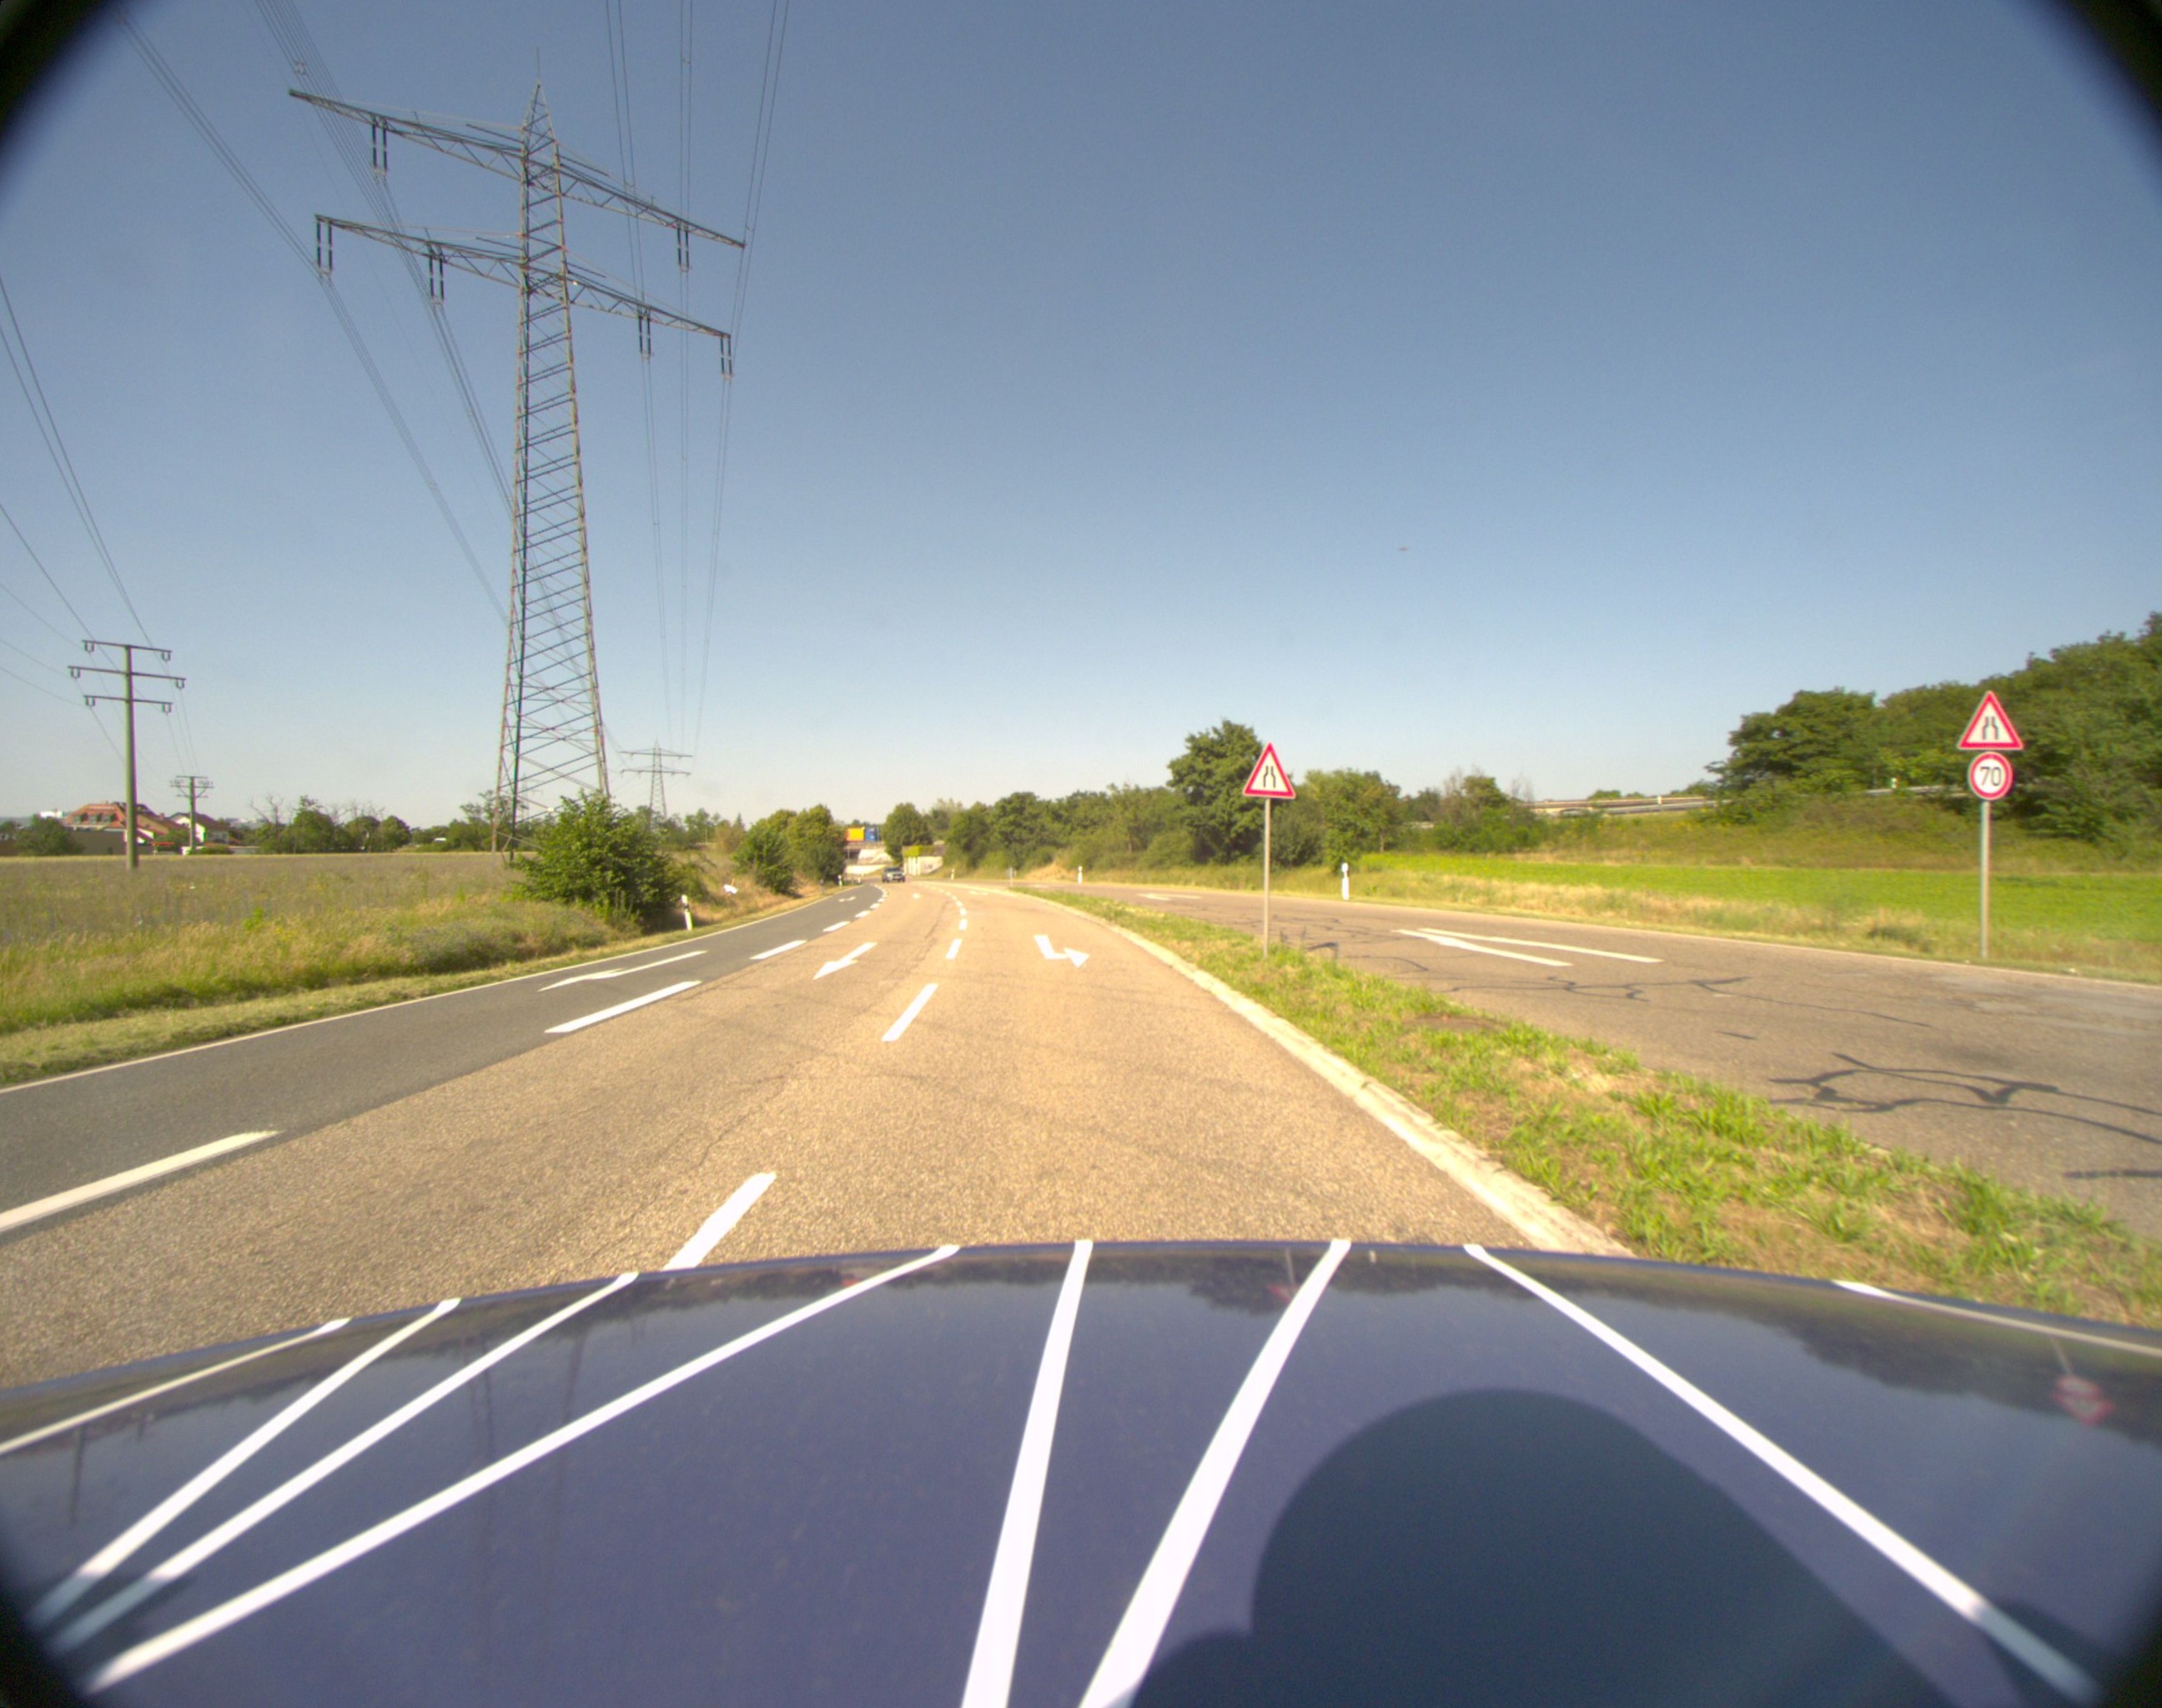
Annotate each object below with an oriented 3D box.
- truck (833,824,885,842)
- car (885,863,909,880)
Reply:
[{"bbox_3d":[-48.409,-4.557,165.527,11.261,3.165,2.164,-2,1,17],"label":"truck"},{"bbox_3d":[-19.032,1.773,78.489,1.863,1.609,3.641,-2,0,-23],"label":"car"}]
